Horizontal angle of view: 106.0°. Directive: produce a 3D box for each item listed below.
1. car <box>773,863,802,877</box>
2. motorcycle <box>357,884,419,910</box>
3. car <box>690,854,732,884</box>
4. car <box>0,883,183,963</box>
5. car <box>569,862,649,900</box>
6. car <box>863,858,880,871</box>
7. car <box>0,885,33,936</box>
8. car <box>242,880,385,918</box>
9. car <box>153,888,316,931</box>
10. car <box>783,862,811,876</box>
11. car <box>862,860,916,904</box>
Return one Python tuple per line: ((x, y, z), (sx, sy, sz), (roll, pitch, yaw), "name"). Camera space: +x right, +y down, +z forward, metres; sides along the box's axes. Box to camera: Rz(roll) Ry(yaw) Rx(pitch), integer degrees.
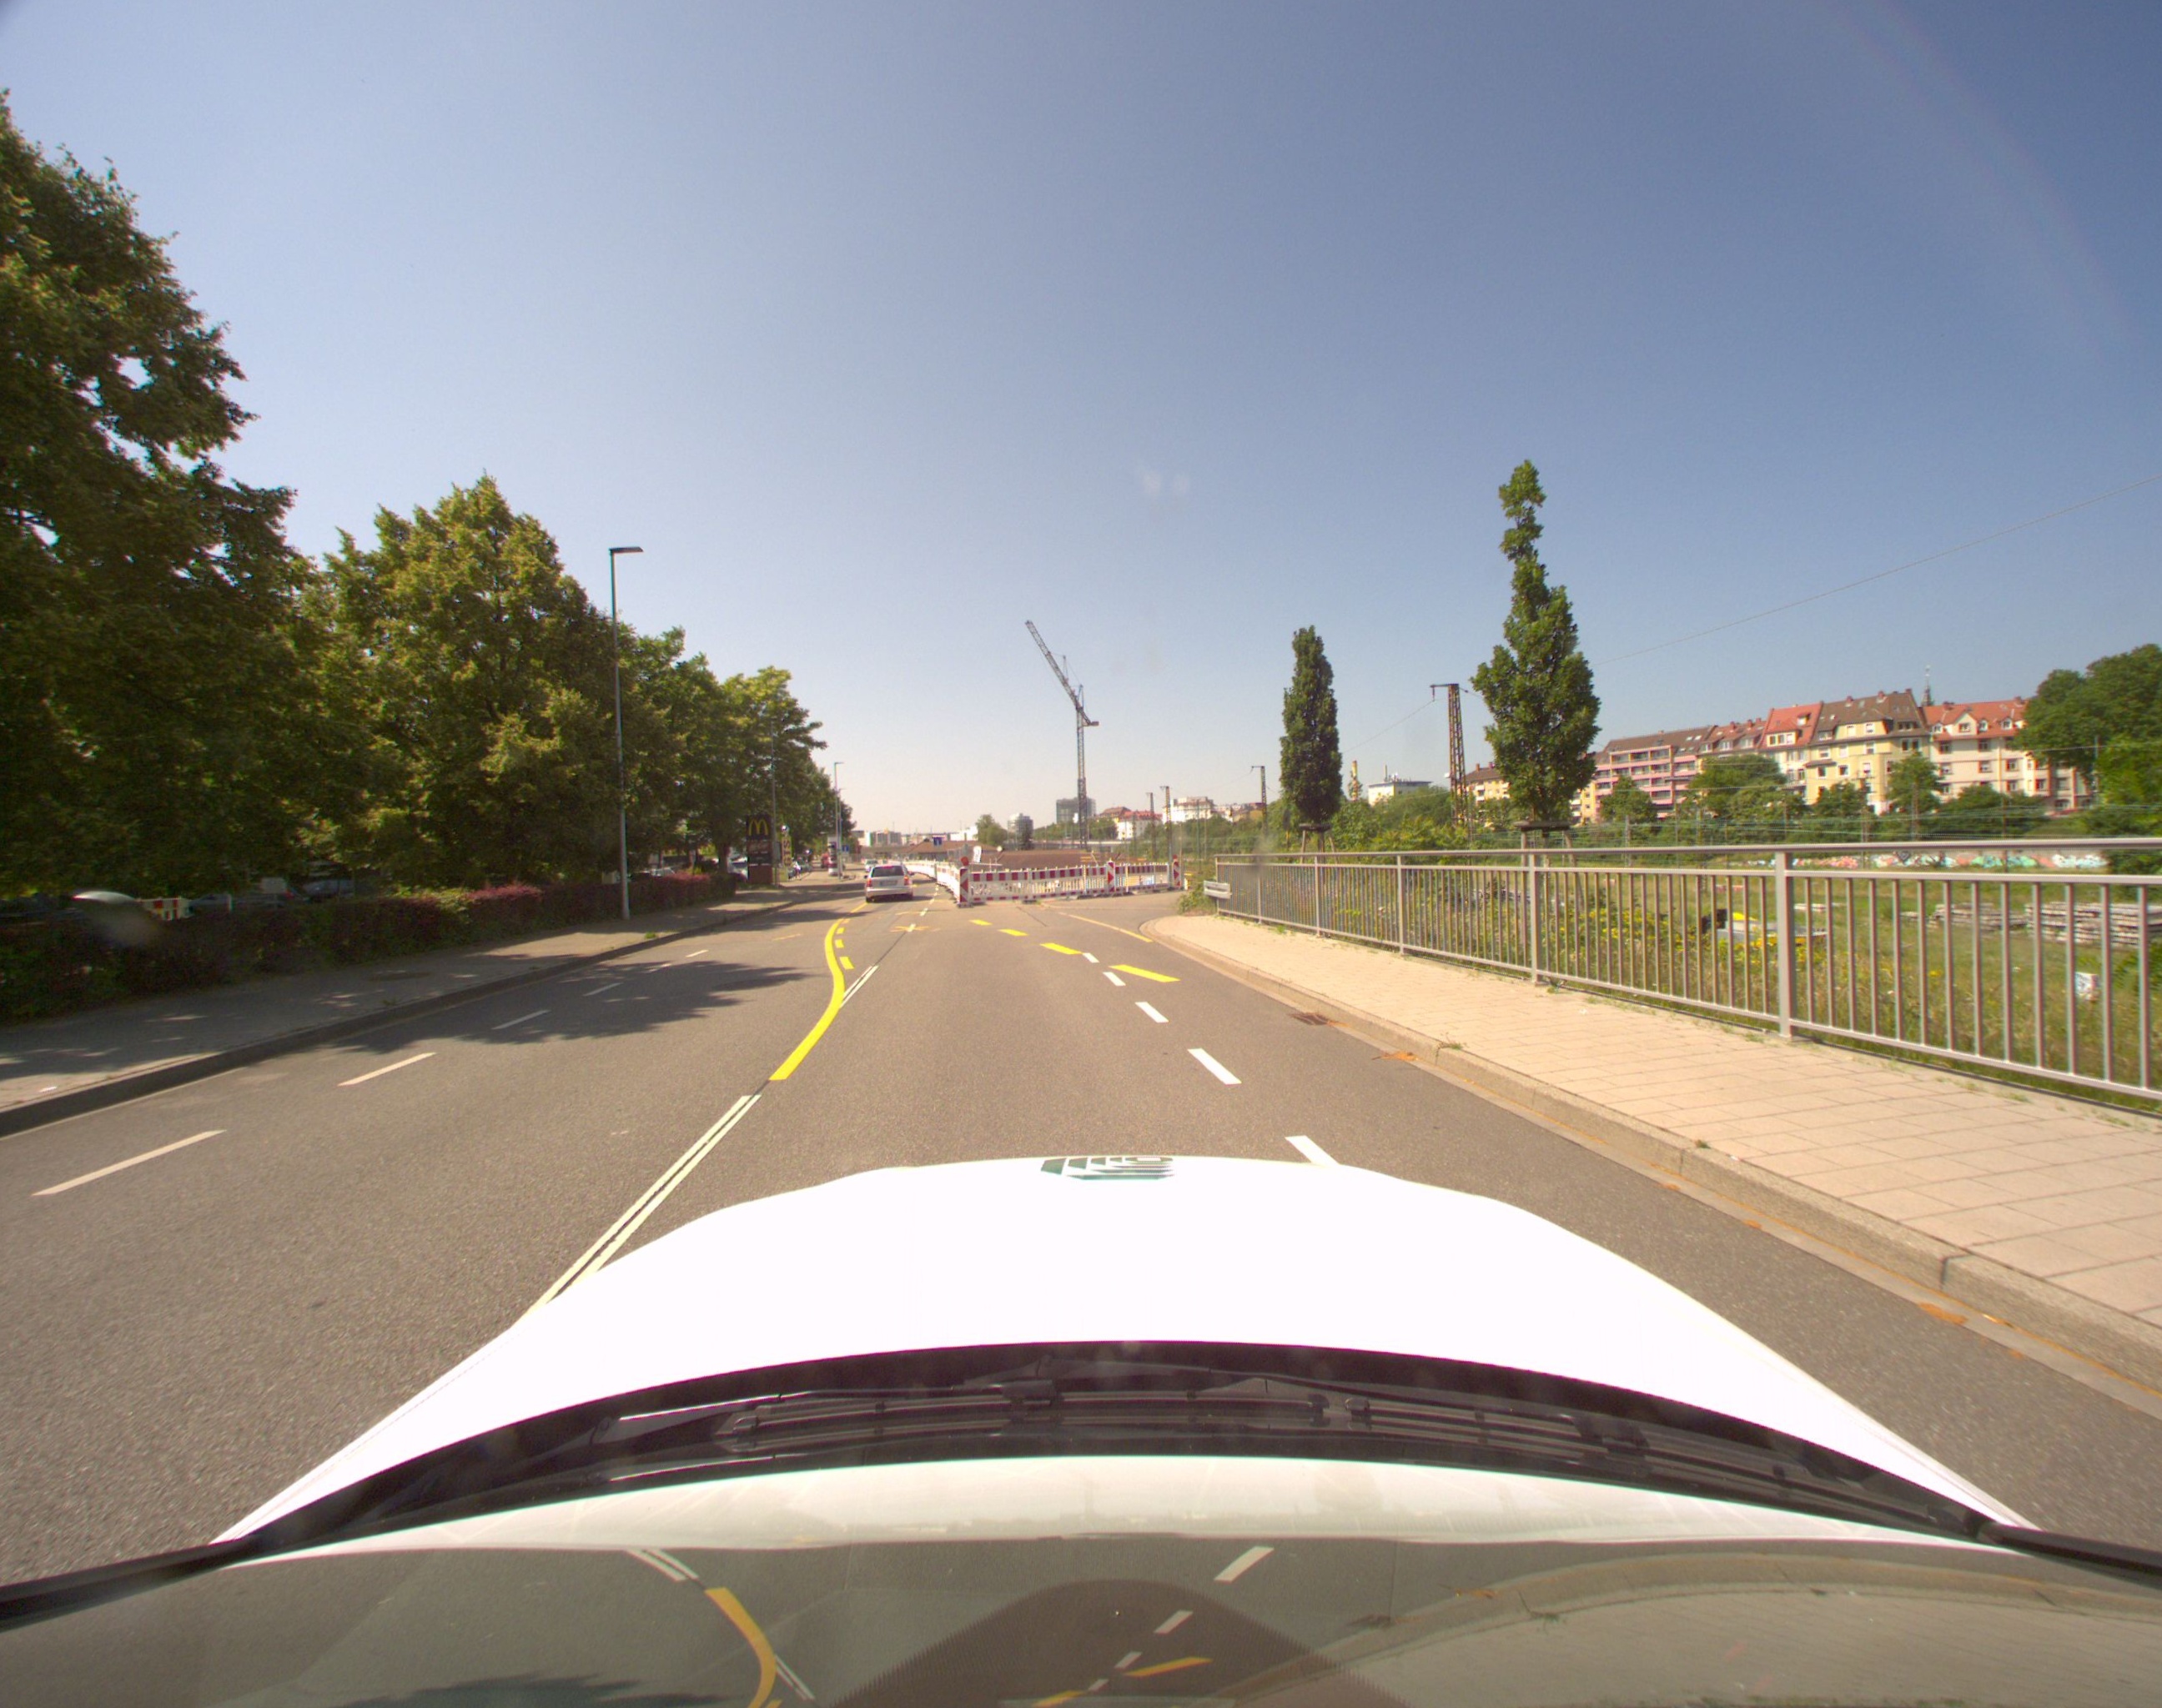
((-35.994, 1.964, 99.936), (3.950, 1.472, 1.683), (-4, 2, 45), "car")
((-32.722, 2.012, 38.519), (2.194, 1.131, 0.563), (-1, 0, -38), "motorcycle")
((-37.830, 1.515, 83.463), (2.277, 2.757, 6.132), (-3, 0, -10), "car")
((-24.091, 1.568, 18.571), (2.067, 1.560, 5.016), (-2, 0, -8), "car")
((-30.402, 1.736, 52.415), (4.471, 1.920, 1.903), (-5, 1, 21), "car")
((-25.144, 1.273, 97.609), (1.682, 1.493, 4.578), (-3, 0, -17), "car")
((-36.282, 1.846, 25.526), (3.854, 1.587, 1.630), (-1, 0, -24), "car")
((-32.881, 1.893, 35.037), (4.098, 1.387, 1.757), (-1, 0, -22), "car")
((-32.994, 2.121, 31.899), (4.075, 1.395, 1.615), (-1, 0, -22), "car")
((-36.139, 1.884, 103.649), (3.950, 1.472, 1.793), (-3, 2, 45), "car")
((-7.267, 1.021, 31.146), (1.709, 1.403, 4.371), (-3, 1, -10), "car")
